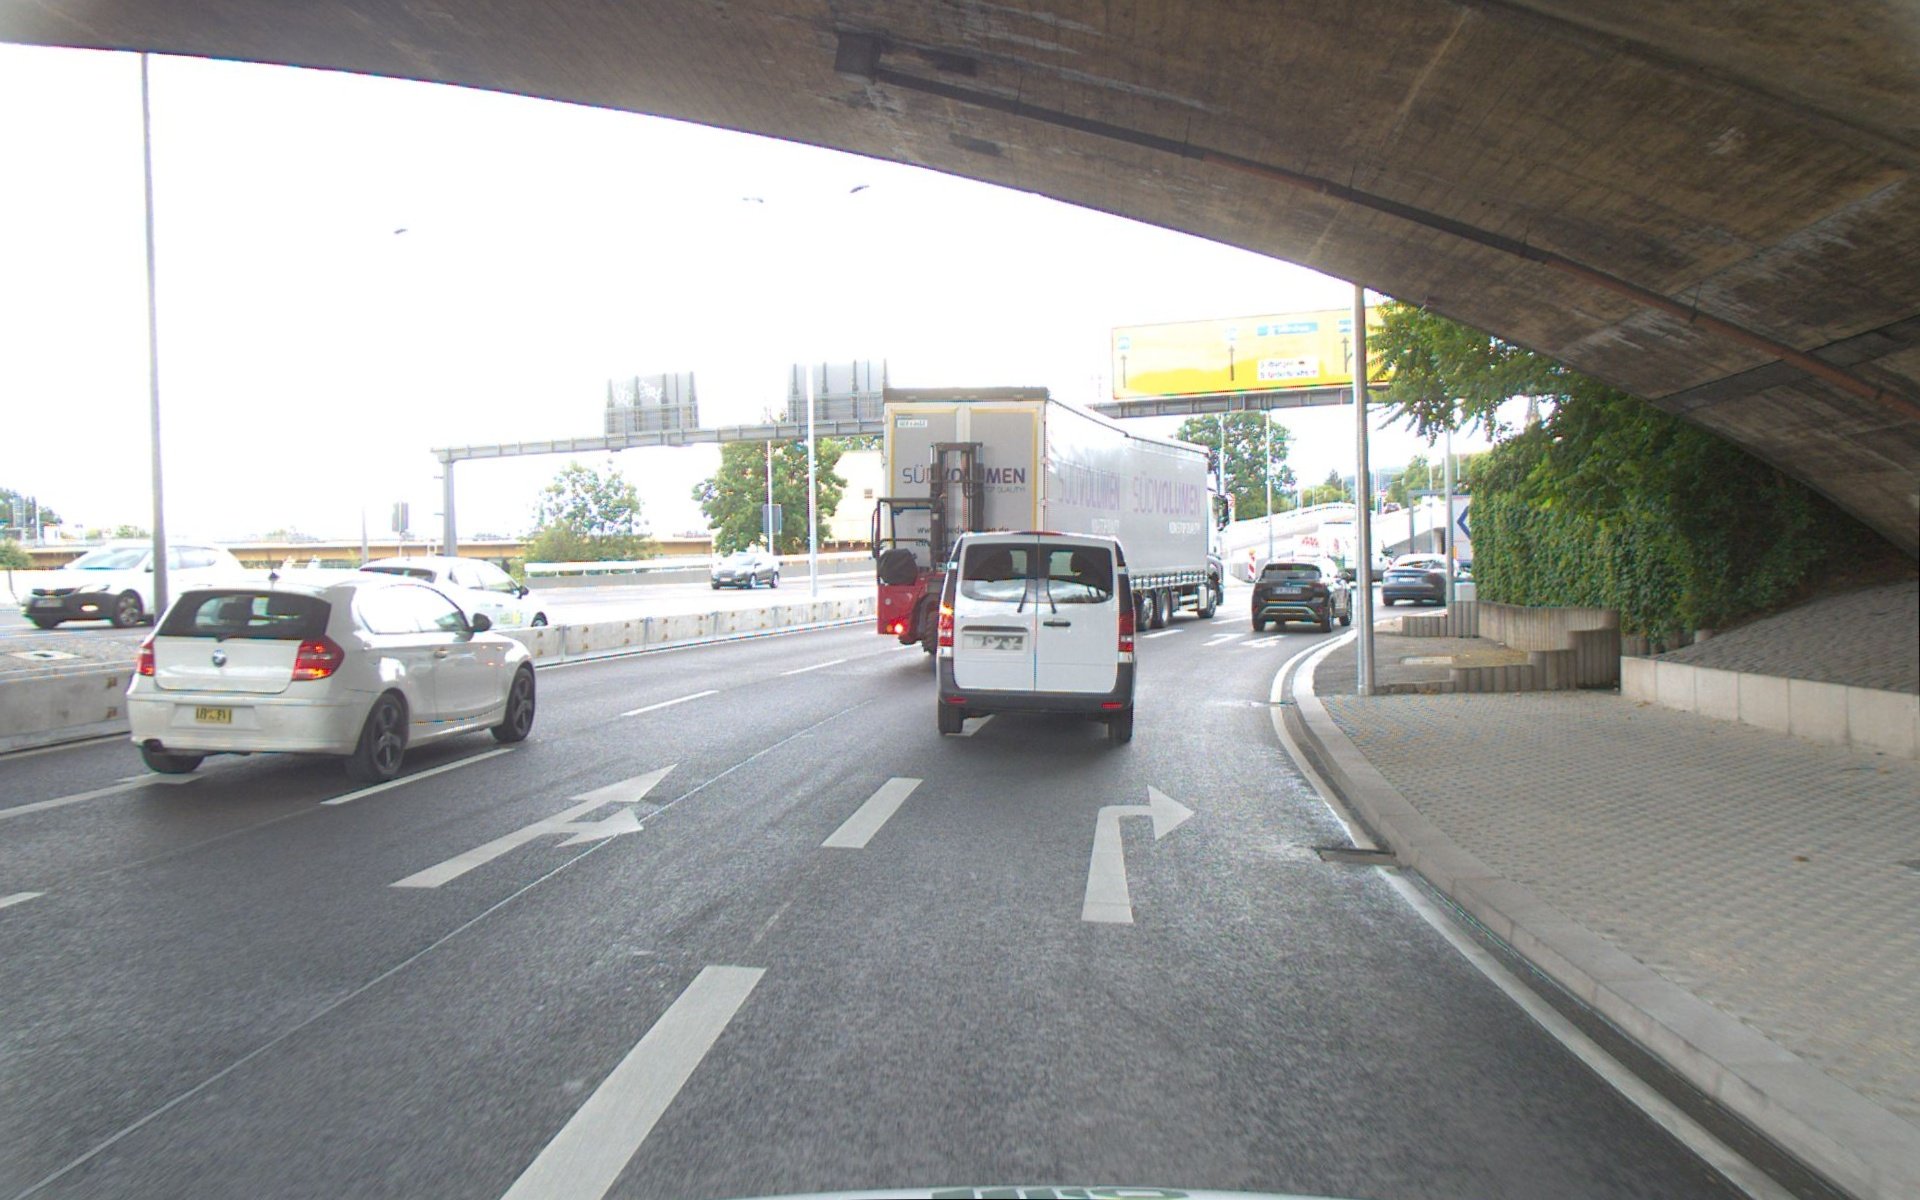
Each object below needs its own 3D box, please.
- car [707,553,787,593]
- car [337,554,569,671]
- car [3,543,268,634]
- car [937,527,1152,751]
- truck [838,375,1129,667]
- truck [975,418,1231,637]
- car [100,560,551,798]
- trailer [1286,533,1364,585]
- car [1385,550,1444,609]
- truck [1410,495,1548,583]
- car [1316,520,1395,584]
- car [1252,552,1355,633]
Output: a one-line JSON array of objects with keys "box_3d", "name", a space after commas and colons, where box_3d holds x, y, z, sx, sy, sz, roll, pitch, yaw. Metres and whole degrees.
[{"box_3d": [-8.801, -1.122, 68.652, 1.699, 1.608, 4.151, 0, 1, 18], "name": "car"}, {"box_3d": [-7.129, 0.147, 23.667, 1.542, 1.510, 4.001, 1, 1, 9], "name": "car"}, {"box_3d": [-14.670, -0.252, 29.759, 1.816, 1.512, 4.547, 0, 1, 12], "name": "car"}, {"box_3d": [0.840, 0.256, 16.805, 1.837, 1.923, 4.756, 1, 2, 2], "name": "car"}, {"box_3d": [0.814, -1.213, 28.479, 2.855, 4.087, 10.210, 1, 1, 13], "name": "truck"}, {"box_3d": [3.650, -1.523, 37.971, 2.926, 4.249, 11.243, 1, 1, 20], "name": "truck"}, {"box_3d": [-4.591, 0.457, 12.643, 1.604, 1.457, 3.985, 2, 2, 5], "name": "car"}, {"box_3d": [14.446, -1.625, 65.323, 1.956, 1.991, 4.073, 2, 2, 28], "name": "trailer"}, {"box_3d": [13.272, -0.575, 48.432, 1.469, 1.494, 3.401, 3, -1, 14], "name": "car"}, {"box_3d": [25.669, -2.917, 80.892, 3.254, 3.875, 16.568, 1, 2, 29], "name": "truck"}, {"box_3d": [16.637, -2.022, 69.378, 1.956, 2.585, 5.167, 2, 2, 28], "name": "car"}, {"box_3d": [7.717, -0.212, 36.919, 1.713, 1.653, 3.846, -2, 1, 20], "name": "car"}]
